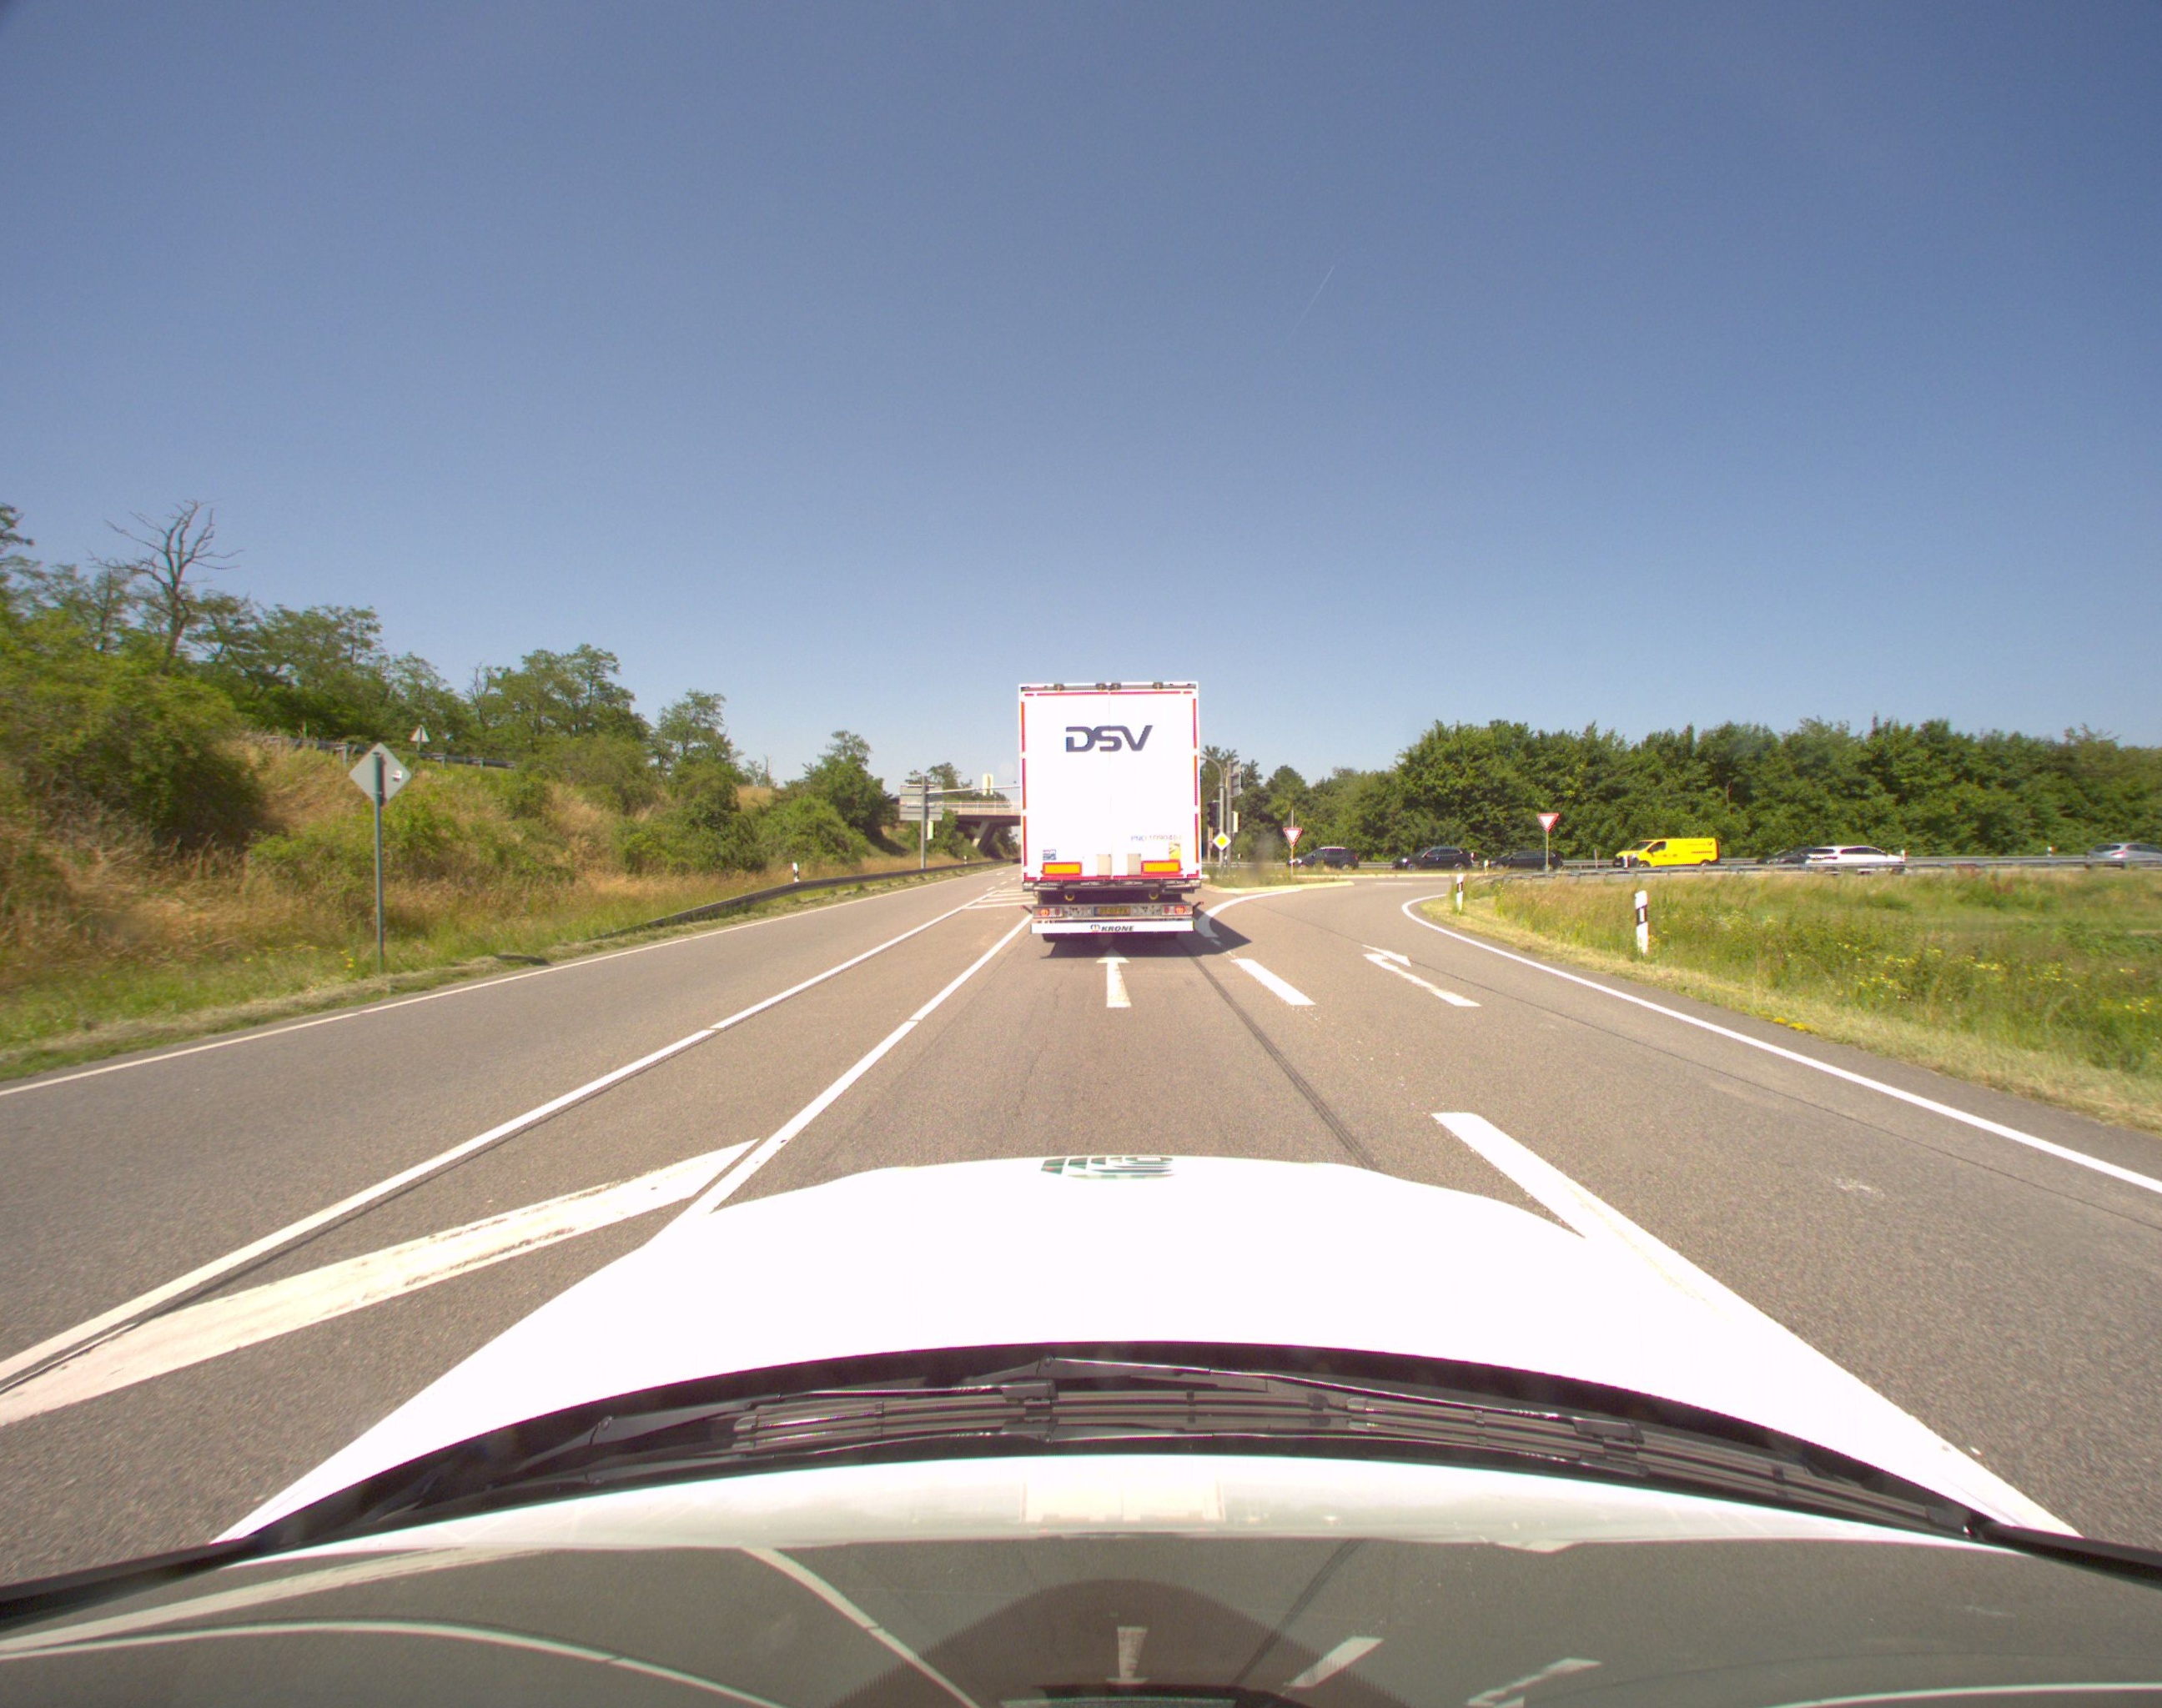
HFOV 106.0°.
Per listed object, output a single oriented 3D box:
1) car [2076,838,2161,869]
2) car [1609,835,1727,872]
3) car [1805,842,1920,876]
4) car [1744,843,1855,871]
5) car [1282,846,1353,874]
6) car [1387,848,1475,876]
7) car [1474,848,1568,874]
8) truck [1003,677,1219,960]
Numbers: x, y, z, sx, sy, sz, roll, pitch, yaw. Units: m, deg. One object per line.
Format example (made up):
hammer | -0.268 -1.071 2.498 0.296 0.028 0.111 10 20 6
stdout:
car | 56.112 -0.030 43.575 3.671 1.567 1.738 -1 -1 -2
car | 34.003 -0.025 47.303 5.300 2.014 2.002 -1 -1 3
car | 40.087 0.237 41.826 4.461 1.567 1.736 -2 0 -5
car | 41.548 0.183 47.157 4.661 1.514 1.855 -1 -1 4
car | 14.553 0.385 50.298 3.964 1.640 1.845 -1 -1 7
car | 20.598 0.465 48.087 4.465 1.598 1.770 -1 -1 4
car | 26.566 0.425 49.313 4.655 1.514 1.858 -1 -1 9
truck | 0.551 -0.487 16.367 2.977 3.942 9.878 -1 0 1
